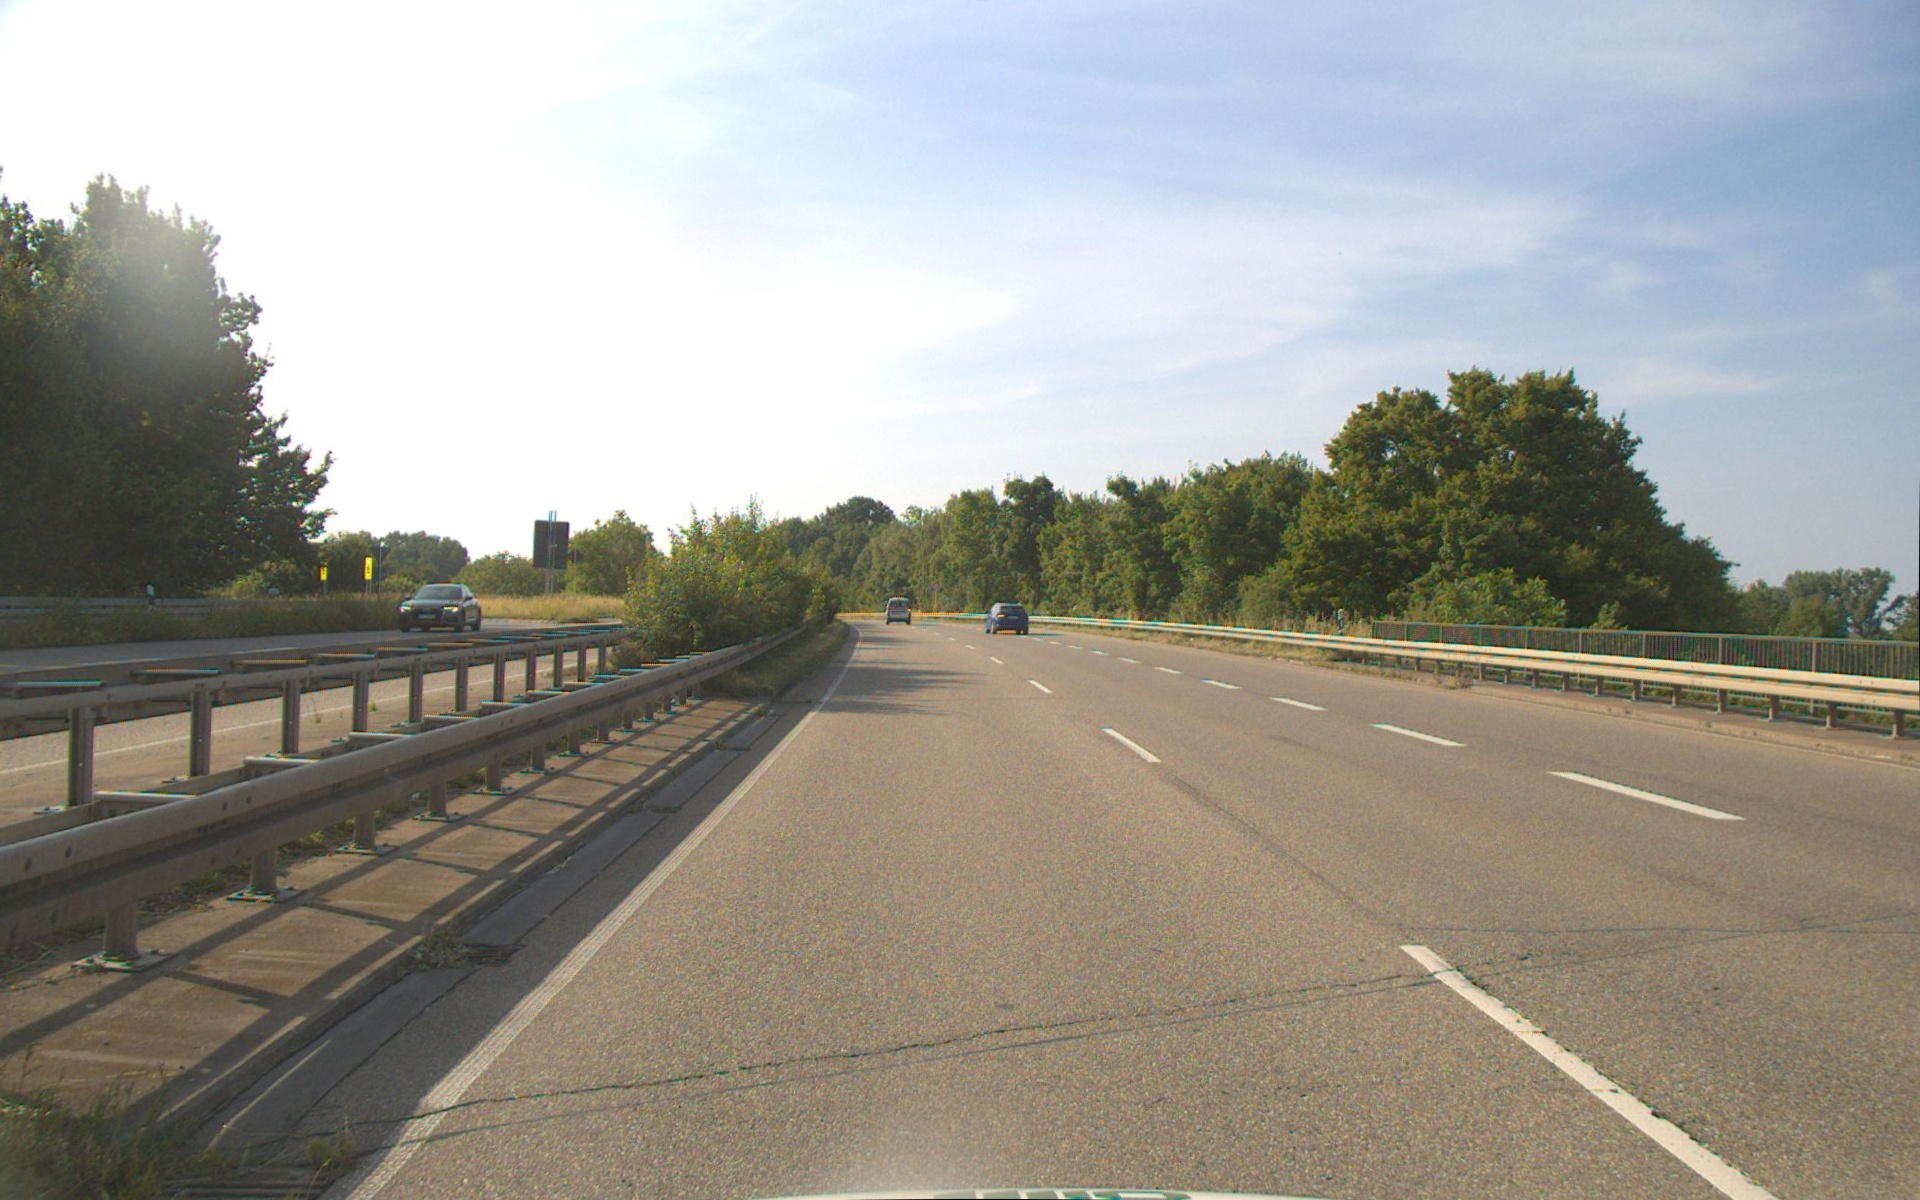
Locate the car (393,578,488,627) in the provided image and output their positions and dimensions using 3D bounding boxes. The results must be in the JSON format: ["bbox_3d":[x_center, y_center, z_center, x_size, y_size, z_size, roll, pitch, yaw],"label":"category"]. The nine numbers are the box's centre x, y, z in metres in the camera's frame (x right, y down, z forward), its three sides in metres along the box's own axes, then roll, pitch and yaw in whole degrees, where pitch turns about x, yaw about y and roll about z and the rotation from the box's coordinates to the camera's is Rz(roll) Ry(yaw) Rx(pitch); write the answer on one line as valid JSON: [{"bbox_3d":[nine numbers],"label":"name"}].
[{"bbox_3d":[-16.213,0.066,51.780,1.915,1.478,4.103,0,0,-4],"label":"car"}]

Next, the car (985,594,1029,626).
[{"bbox_3d":[2.244,0.486,79.446,1.744,1.477,3.997,0,-1,-4],"label":"car"}]

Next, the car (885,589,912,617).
[{"bbox_3d":[-4.280,0.217,115.060,1.731,1.915,3.996,1,0,-4],"label":"car"}]
